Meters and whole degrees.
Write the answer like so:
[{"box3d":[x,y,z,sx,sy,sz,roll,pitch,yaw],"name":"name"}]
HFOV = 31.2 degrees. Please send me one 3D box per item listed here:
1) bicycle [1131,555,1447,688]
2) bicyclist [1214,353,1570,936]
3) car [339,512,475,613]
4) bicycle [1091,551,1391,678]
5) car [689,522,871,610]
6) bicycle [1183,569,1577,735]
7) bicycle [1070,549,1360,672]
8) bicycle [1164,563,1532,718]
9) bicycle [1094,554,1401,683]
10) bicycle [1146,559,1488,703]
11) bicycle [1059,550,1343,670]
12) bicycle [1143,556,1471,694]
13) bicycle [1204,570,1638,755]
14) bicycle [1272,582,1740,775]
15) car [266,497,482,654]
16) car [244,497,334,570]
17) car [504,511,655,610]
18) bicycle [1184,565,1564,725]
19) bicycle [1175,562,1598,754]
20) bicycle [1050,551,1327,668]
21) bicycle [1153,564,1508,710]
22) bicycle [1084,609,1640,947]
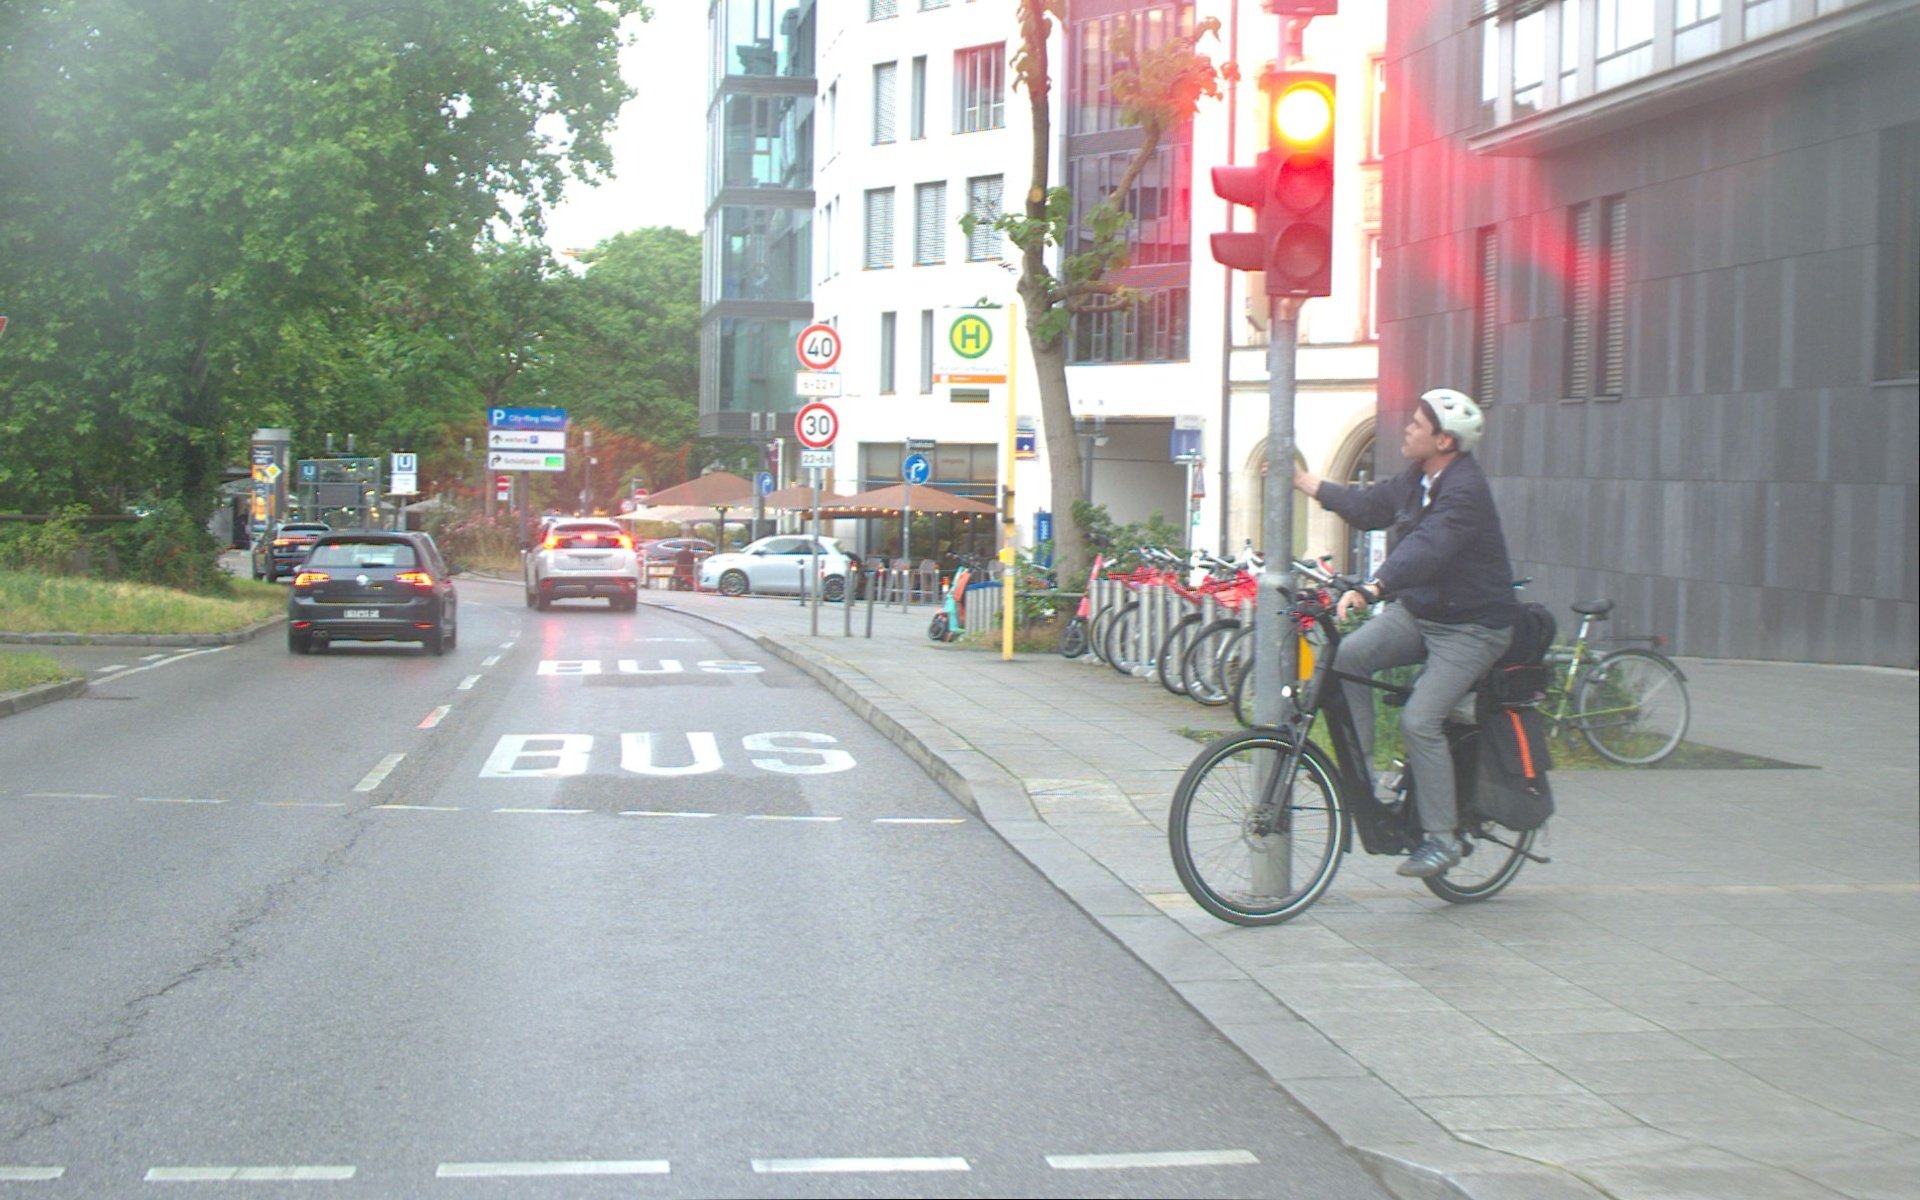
[{"box3d":[2.738,0.177,28.725,2.535,1.083,0.677,0,1,-6],"name":"bicycle"},{"box3d":[1.619,0.152,12.869,1.082,2.076,0.763,0,1,-38],"name":"bicyclist"},{"box3d":[-9.622,-0.681,59.642,1.944,1.641,4.246,1,1,-14],"name":"car"},{"box3d":[2.468,0.125,30.309,2.535,1.083,0.677,0,1,-6],"name":"bicycle"},{"box3d":[-4.180,-0.793,79.496,3.986,1.641,2.000,5,1,-5],"name":"car"},{"box3d":[2.812,0.344,23.110,2.535,1.083,0.677,0,1,-6],"name":"bicycle"},{"box3d":[2.307,0.094,31.193,2.535,1.083,0.677,0,1,-6],"name":"bicycle"},{"box3d":[2.785,0.286,24.775,2.535,1.083,0.677,0,1,-6],"name":"bicycle"},{"box3d":[2.464,0.156,29.556,2.535,1.083,0.677,0,1,-6],"name":"bicycle"},{"box3d":[2.747,0.237,26.550,2.535,1.083,0.677,0,1,-6],"name":"bicycle"},{"box3d":[2.229,0.091,31.938,2.535,1.083,0.677,0,1,-6],"name":"bicycle"},{"box3d":[2.790,0.199,27.748,2.535,1.083,0.677,0,1,-6],"name":"bicycle"},{"box3d":[2.813,0.379,21.080,2.535,1.083,0.677,1,1,-6],"name":"bicycle"},{"box3d":[3.101,0.443,19.612,2.535,1.053,0.677,1,1,-6],"name":"bicycle"},{"box3d":[-6.835,-0.328,40.549,2.161,1.700,4.555,1,1,-6],"name":"car"},{"box3d":[-15.806,-1.581,80.893,1.944,1.641,4.001,1,1,-13],"name":"car"},{"box3d":[-6.991,-0.754,62.814,2.178,1.695,4.001,1,1,-14],"name":"car"},{"box3d":[2.876,0.308,23.967,2.535,1.083,0.677,0,1,-6],"name":"bicycle"},{"box3d":[2.703,0.365,21.881,2.535,1.083,0.677,3,1,-7],"name":"bicycle"},{"box3d":[2.163,0.085,32.659,2.535,1.083,0.627,0,1,-6],"name":"bicycle"},{"box3d":[2.755,0.271,25.641,2.535,1.056,0.677,0,1,-6],"name":"bicycle"},{"box3d":[1.526,0.617,12.804,2.126,1.141,0.763,0,1,-38],"name":"bicycle"}]
